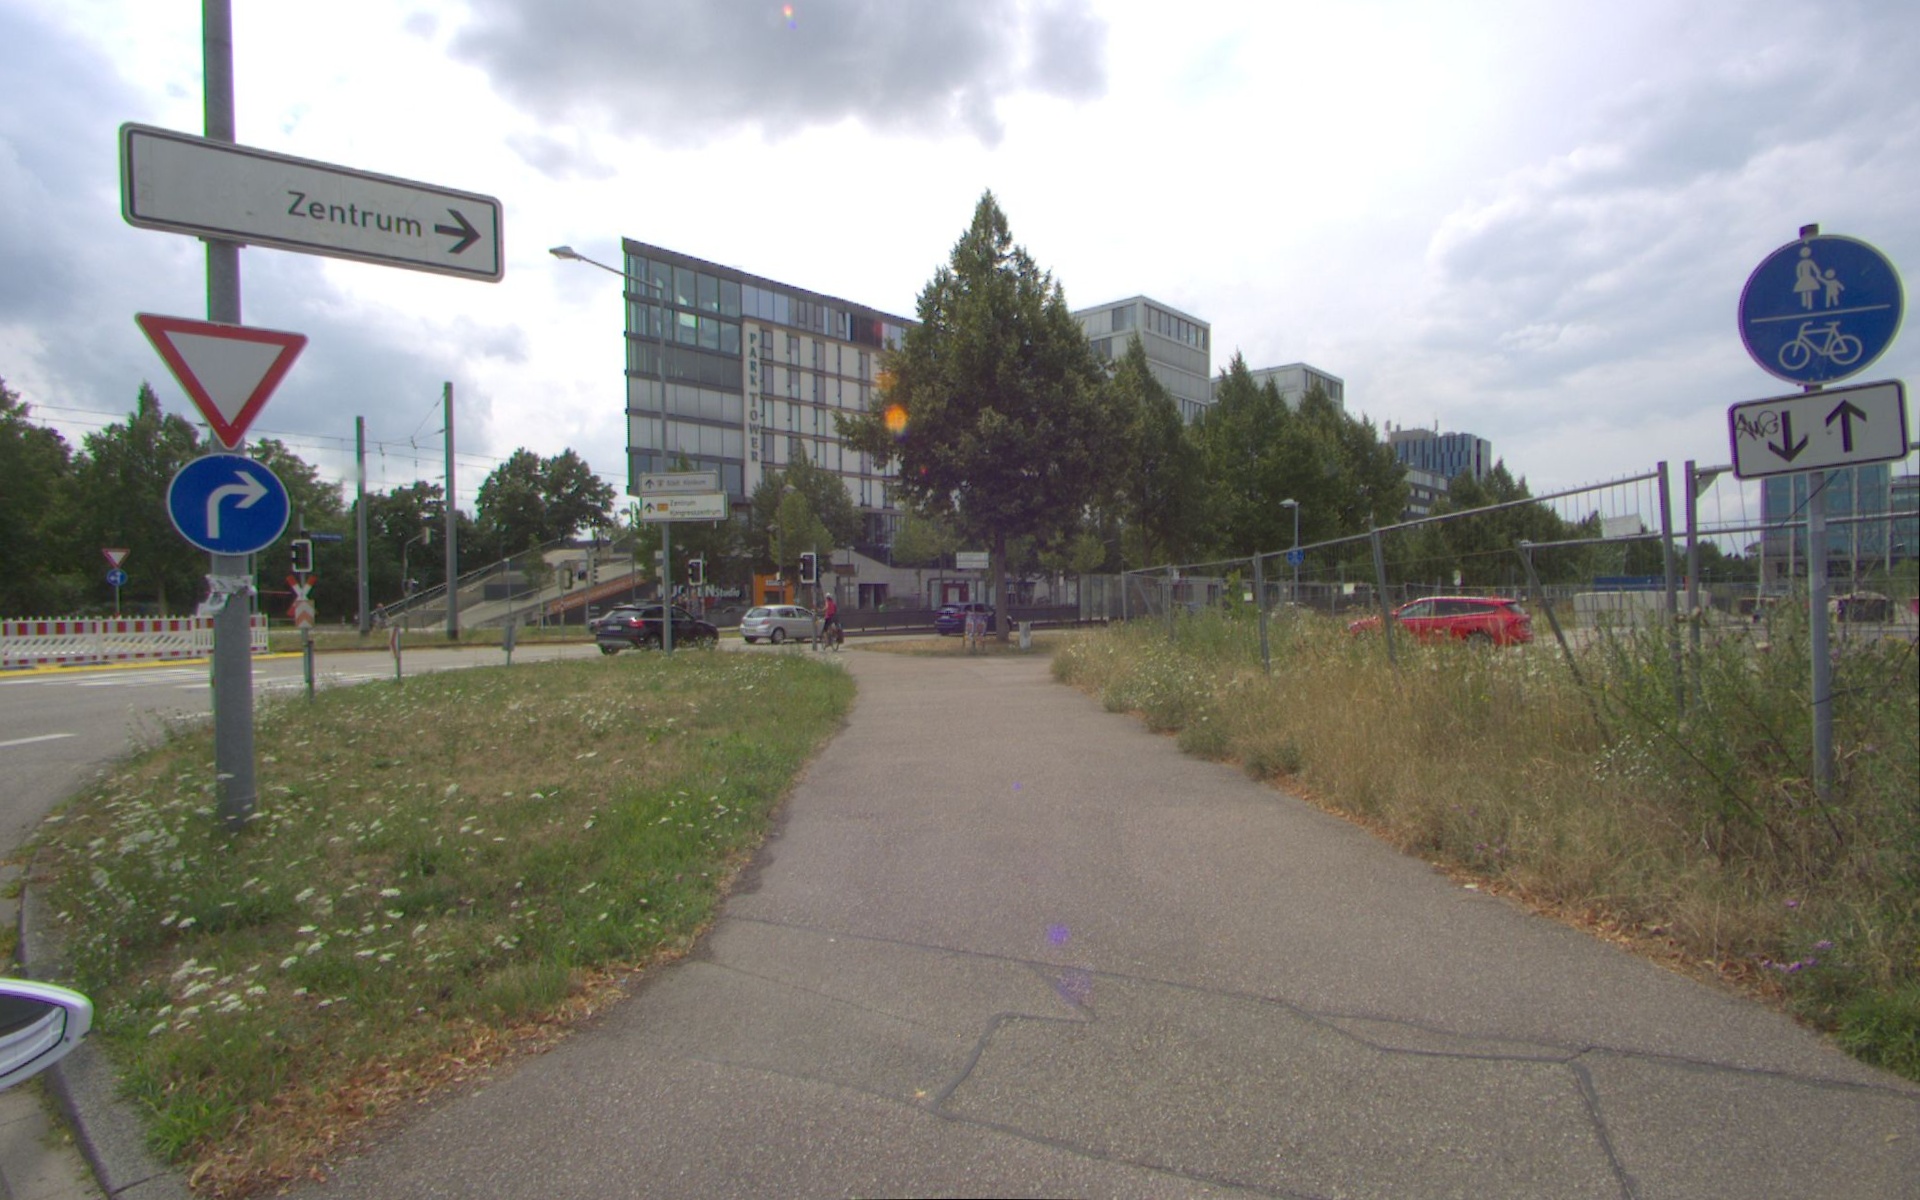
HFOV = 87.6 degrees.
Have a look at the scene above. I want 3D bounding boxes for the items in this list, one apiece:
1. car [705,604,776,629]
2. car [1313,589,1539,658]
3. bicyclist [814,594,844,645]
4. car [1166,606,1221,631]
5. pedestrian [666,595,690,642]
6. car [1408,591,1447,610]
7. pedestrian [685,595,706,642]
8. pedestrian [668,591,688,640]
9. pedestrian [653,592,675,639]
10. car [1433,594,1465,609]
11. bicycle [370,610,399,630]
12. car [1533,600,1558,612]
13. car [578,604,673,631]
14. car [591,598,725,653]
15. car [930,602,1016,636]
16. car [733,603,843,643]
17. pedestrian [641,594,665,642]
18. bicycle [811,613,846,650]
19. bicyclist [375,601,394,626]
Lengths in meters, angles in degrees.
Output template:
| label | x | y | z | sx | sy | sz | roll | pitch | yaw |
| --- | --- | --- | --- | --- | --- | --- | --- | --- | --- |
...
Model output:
| label | x | y | z | sx | sy | sz | roll | pitch | yaw |
| --- | --- | --- | --- | --- | --- | --- | --- | --- | --- |
| car | -13.587 | 1.021 | 62.062 | 1.829 | 1.477 | 3.963 | 1 | 0 | 44 |
| car | 11.950 | 0.583 | 25.874 | 5.072 | 1.625 | 1.777 | 0 | 0 | 37 |
| bicyclist | -4.324 | 0.619 | 32.982 | 0.778 | 1.649 | 1.046 | -1 | 1 | -18 |
| car | 14.853 | 1.157 | 63.667 | 1.780 | 1.517 | 4.084 | 0 | 0 | 40 |
| pedestrian | -10.800 | 0.702 | 38.390 | 0.546 | 1.805 | 0.685 | 1 | 1 | 37 |
| car | 41.833 | 0.067 | 89.605 | 1.977 | 1.639 | 4.714 | 0 | 0 | 41 |
| pedestrian | -10.249 | 0.706 | 38.843 | 0.546 | 1.805 | 0.576 | 1 | 1 | 37 |
| pedestrian | -11.011 | 0.593 | 39.123 | 0.546 | 1.887 | 0.527 | 1 | 1 | 37 |
| pedestrian | -11.423 | 0.588 | 38.649 | 0.546 | 1.805 | 0.629 | 1 | 1 | 37 |
| car | 52.350 | 0.174 | 107.161 | 1.977 | 1.639 | 4.713 | 0 | 0 | 41 |
| bicycle | -30.543 | 1.042 | 53.149 | 1.733 | 1.020 | 0.650 | 0 | 0 | 35 |
| car | 73.255 | 0.738 | 125.303 | 1.978 | 1.392 | 3.966 | 0 | 0 | 42 |
| car | -18.549 | 0.949 | 55.691 | 1.829 | 1.477 | 4.696 | 1 | 0 | 43 |
| car | -8.981 | 0.724 | 30.117 | 1.711 | 1.539 | 4.137 | 0 | 0 | 20 |
| car | 0.649 | 0.861 | 47.831 | 1.713 | 1.554 | 4.335 | 0 | 0 | 42 |
| car | -6.662 | 0.851 | 39.113 | 1.806 | 1.482 | 4.234 | 0 | 0 | 35 |
| pedestrian | -11.648 | 0.670 | 37.969 | 0.546 | 1.805 | 0.685 | 1 | 1 | 37 |
| bicycle | -4.367 | 1.021 | 33.174 | 0.778 | 1.183 | 2.037 | -1 | 0 | -19 |
| bicyclist | -30.528 | 0.714 | 53.133 | 0.666 | 1.334 | 0.636 | 1 | 1 | 35 |
